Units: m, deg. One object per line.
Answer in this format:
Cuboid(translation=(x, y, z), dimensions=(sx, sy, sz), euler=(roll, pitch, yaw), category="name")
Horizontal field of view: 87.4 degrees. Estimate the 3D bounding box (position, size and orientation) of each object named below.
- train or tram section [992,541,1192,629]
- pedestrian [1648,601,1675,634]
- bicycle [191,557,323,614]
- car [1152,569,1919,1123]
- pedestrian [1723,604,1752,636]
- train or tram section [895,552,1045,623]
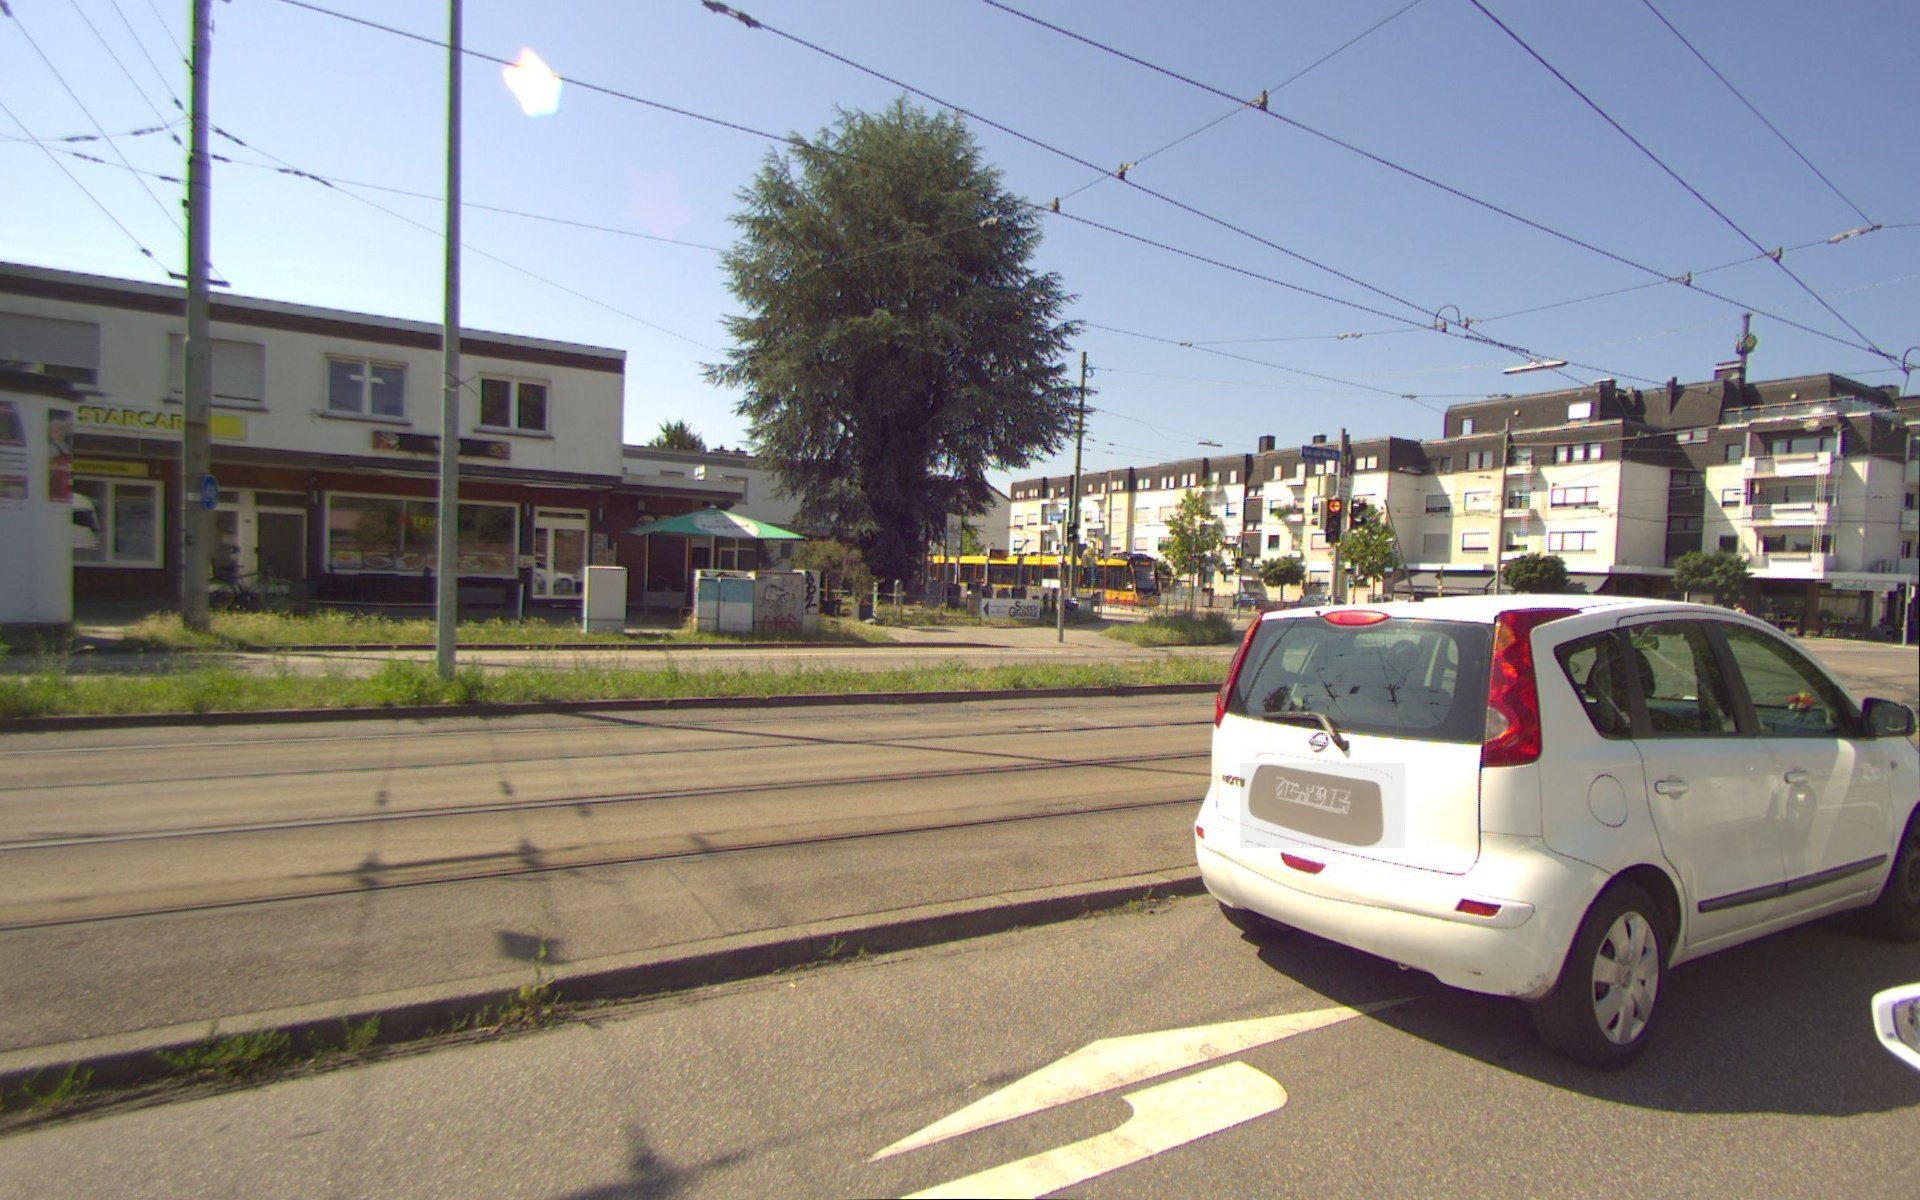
Cuboid(translation=(8.537, -0.900, 69.380), dimensions=(4.681, 5.217, 16.121), euler=(2, -1, -30), category="train or tram section")
Cuboid(translation=(38.620, 0.980, 55.317), dimensions=(0.955, 1.766, 0.865), euler=(2, -1, 13), category="pedestrian")
Cuboid(translation=(-15.515, -0.296, 22.266), dimensions=(2.306, 1.167, 0.783), euler=(2, -1, -30), category="bicycle")
Cuboid(translation=(2.848, 0.714, 4.546), dimensions=(3.759, 1.587, 1.634), euler=(0, 0, -31), category="car")
Cuboid(translation=(43.067, 1.111, 55.617), dimensions=(0.955, 1.766, 0.865), euler=(2, -1, 12), category="pedestrian")
Cuboid(translation=(0.382, -0.934, 83.282), dimensions=(4.681, 5.217, 16.121), euler=(2, -1, -30), category="train or tram section")
